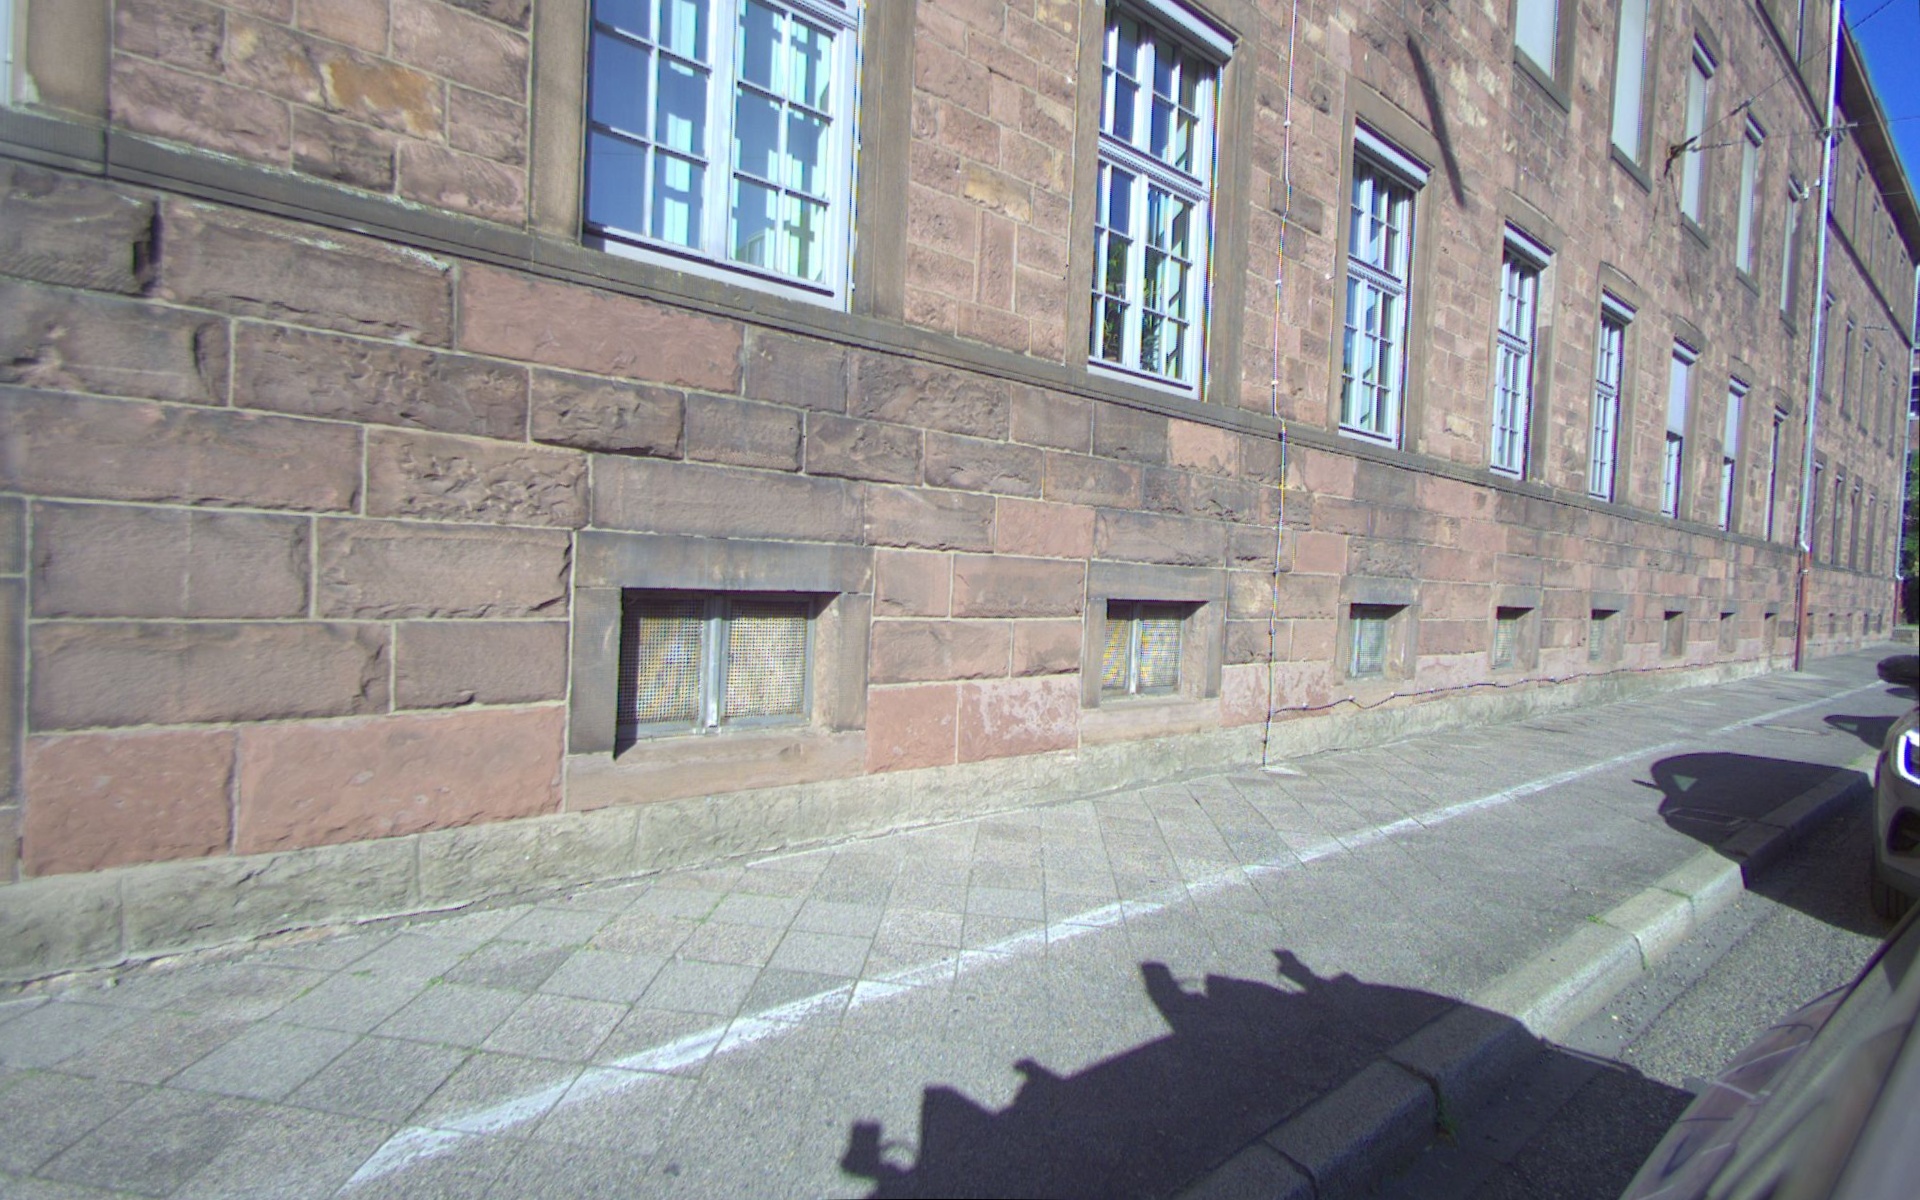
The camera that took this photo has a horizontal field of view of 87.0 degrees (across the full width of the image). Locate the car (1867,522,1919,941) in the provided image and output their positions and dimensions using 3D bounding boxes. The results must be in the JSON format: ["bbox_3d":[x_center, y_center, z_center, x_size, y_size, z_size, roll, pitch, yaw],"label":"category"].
[{"bbox_3d":[5.605,0.538,4.653,3.735,1.624,1.793,0,2,-43],"label":"car"}]
